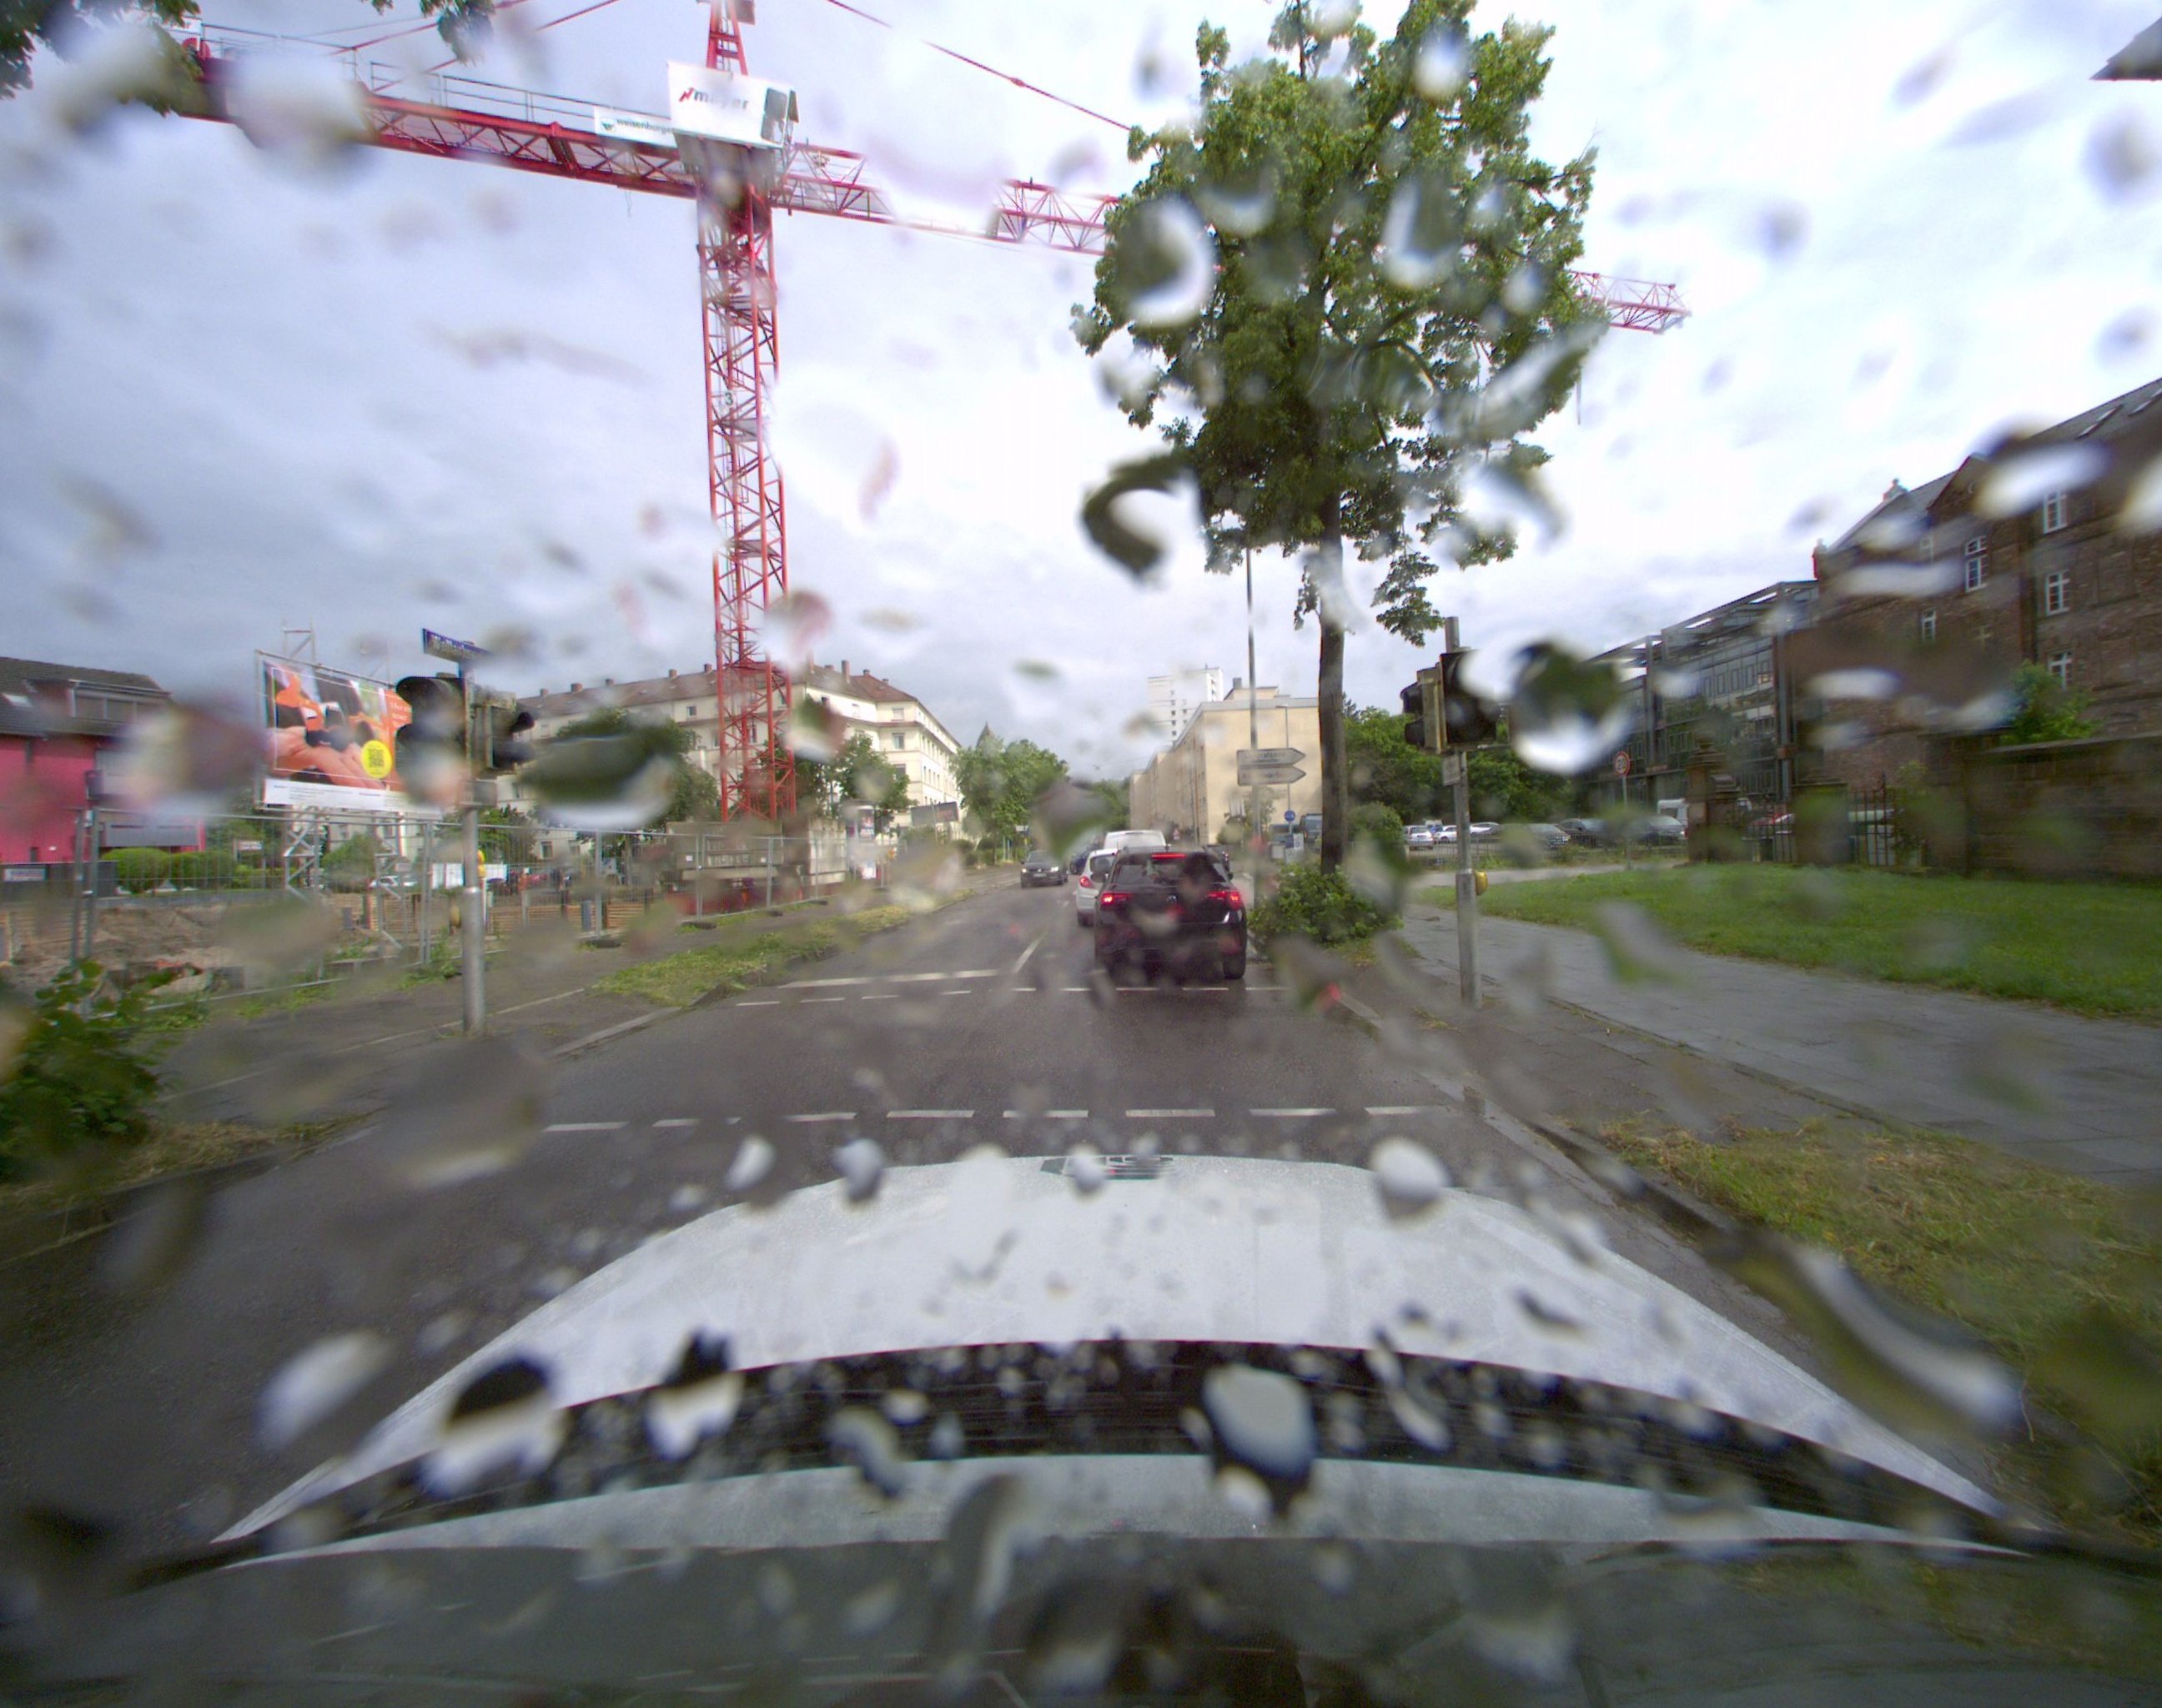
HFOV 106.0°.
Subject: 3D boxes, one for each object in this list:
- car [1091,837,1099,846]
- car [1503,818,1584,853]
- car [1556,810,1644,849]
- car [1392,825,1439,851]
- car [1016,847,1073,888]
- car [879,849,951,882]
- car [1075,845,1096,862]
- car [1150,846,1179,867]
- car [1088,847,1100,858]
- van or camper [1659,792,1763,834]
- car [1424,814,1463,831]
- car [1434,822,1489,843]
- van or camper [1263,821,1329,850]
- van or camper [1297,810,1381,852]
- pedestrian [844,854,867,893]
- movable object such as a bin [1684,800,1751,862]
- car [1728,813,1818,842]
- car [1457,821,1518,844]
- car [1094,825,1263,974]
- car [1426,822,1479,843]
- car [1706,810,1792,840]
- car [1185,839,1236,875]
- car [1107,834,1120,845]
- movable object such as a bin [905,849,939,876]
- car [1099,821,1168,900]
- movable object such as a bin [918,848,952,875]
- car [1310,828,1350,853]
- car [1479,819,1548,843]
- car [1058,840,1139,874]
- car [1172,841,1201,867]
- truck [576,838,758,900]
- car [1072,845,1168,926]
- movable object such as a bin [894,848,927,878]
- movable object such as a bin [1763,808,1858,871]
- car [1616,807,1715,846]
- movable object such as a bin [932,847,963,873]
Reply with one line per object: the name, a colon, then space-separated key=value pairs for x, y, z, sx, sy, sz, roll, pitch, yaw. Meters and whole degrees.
car: x=3.193 y=-2.874 z=182.946 sx=1.660 sy=1.837 sz=4.000 roll=-3 pitch=1 yaw=0
car: x=22.491 y=-0.877 z=39.767 sx=1.819 sy=1.527 sz=4.432 roll=-3 pitch=1 yaw=7
car: x=24.885 y=-1.146 z=39.222 sx=1.843 sy=1.679 sz=4.433 roll=-3 pitch=1 yaw=8
car: x=20.896 y=-0.982 z=51.043 sx=1.641 sy=1.486 sz=3.724 roll=-3 pitch=1 yaw=5
car: x=-1.405 y=0.518 z=33.068 sx=1.805 sy=1.540 sz=3.986 roll=-2 pitch=0 yaw=4
car: x=-9.660 y=0.698 z=47.388 sx=3.992 sy=1.637 sz=1.886 roll=-4 pitch=-1 yaw=-14
car: x=0.472 y=-0.077 z=84.413 sx=1.833 sy=1.607 sz=4.004 roll=-4 pitch=0 yaw=3
car: x=6.443 y=0.179 z=63.138 sx=1.744 sy=1.508 sz=4.109 roll=-2 pitch=1 yaw=-1
car: x=2.093 y=-0.201 z=132.260 sx=1.733 sy=1.607 sz=3.679 roll=-4 pitch=0 yaw=3
van or camper: x=39.704 y=-2.559 z=51.414 sx=4.768 sy=2.486 sz=2.259 roll=-1 pitch=0 yaw=1
car: x=36.014 y=-3.116 z=80.984 sx=3.209 sy=1.397 sz=1.511 roll=-3 pitch=0 yaw=5
car: x=30.364 y=-1.685 z=65.081 sx=3.649 sy=1.486 sz=1.642 roll=-3 pitch=0 yaw=5
van or camper: x=17.289 y=-1.491 z=65.713 sx=4.736 sy=2.131 sz=2.325 roll=-2 pitch=1 yaw=5
van or camper: x=17.457 y=-1.522 z=55.290 sx=4.977 sy=2.554 sz=2.177 roll=-2 pitch=-1 yaw=3
pedestrian: x=-9.417 y=0.814 z=34.051 sx=0.727 sy=1.629 sz=0.677 roll=0 pitch=-1 yaw=-36
movable object such as a bin: x=15.901 y=-0.578 z=20.376 sx=0.796 sy=1.457 sz=1.098 roll=-4 pitch=1 yaw=3
car: x=39.305 y=-1.499 z=46.321 sx=3.650 sy=1.486 sz=1.674 roll=-2 pitch=1 yaw=3
car: x=29.805 y=-1.560 z=59.756 sx=3.649 sy=1.486 sz=1.642 roll=-3 pitch=0 yaw=5
car: x=1.163 y=0.507 z=11.114 sx=1.866 sy=1.645 sz=4.064 roll=-1 pitch=0 yaw=2
car: x=30.710 y=-1.749 z=67.413 sx=3.649 sy=1.486 sz=1.642 roll=-3 pitch=0 yaw=5
car: x=39.716 y=-1.697 z=48.469 sx=3.650 sy=1.576 sz=1.674 roll=-3 pitch=0 yaw=3
car: x=6.354 y=0.110 z=40.406 sx=1.768 sy=1.539 sz=4.379 roll=-5 pitch=1 yaw=1
car: x=4.787 y=-2.125 z=119.851 sx=1.833 sy=1.607 sz=3.679 roll=-4 pitch=0 yaw=3
movable object such as a bin: x=-10.454 y=0.553 z=53.580 sx=1.524 sy=1.656 sz=1.536 roll=-3 pitch=1 yaw=21
car: x=1.556 y=0.174 z=23.775 sx=1.828 sy=2.103 sz=4.004 roll=-1 pitch=0 yaw=4
movable object such as a bin: x=-9.858 y=0.489 z=55.127 sx=1.524 sy=1.674 sz=1.675 roll=-3 pitch=1 yaw=21
car: x=15.749 y=-0.859 z=51.691 sx=1.603 sy=1.448 sz=3.420 roll=-3 pitch=1 yaw=4
car: x=30.413 y=-1.588 z=57.361 sx=3.957 sy=1.465 sz=1.674 roll=-3 pitch=0 yaw=3
car: x=0.864 y=0.182 z=43.479 sx=1.831 sy=1.584 sz=4.395 roll=-6 pitch=3 yaw=-39
car: x=6.679 y=0.034 z=51.813 sx=1.748 sy=1.528 sz=4.006 roll=1 pitch=-1 yaw=6
truck: x=-25.452 y=0.892 z=50.191 sx=9.739 sy=3.184 sz=3.808 roll=-3 pitch=0 yaw=15
car: x=0.812 y=0.601 z=17.344 sx=1.806 sy=1.503 sz=4.002 roll=-1 pitch=0 yaw=2
movable object such as a bin: x=-10.868 y=0.583 z=52.049 sx=1.524 sy=1.824 sz=1.270 roll=-3 pitch=1 yaw=21
movable object such as a bin: x=18.305 y=-0.359 z=20.490 sx=1.101 sy=1.457 sz=1.392 roll=-4 pitch=1 yaw=3
car: x=28.284 y=-1.302 z=39.618 sx=1.845 sy=1.679 sz=4.429 roll=-3 pitch=1 yaw=4
movable object such as a bin: x=-9.295 y=0.406 z=56.629 sx=1.524 sy=1.661 sz=1.466 roll=-3 pitch=1 yaw=21
